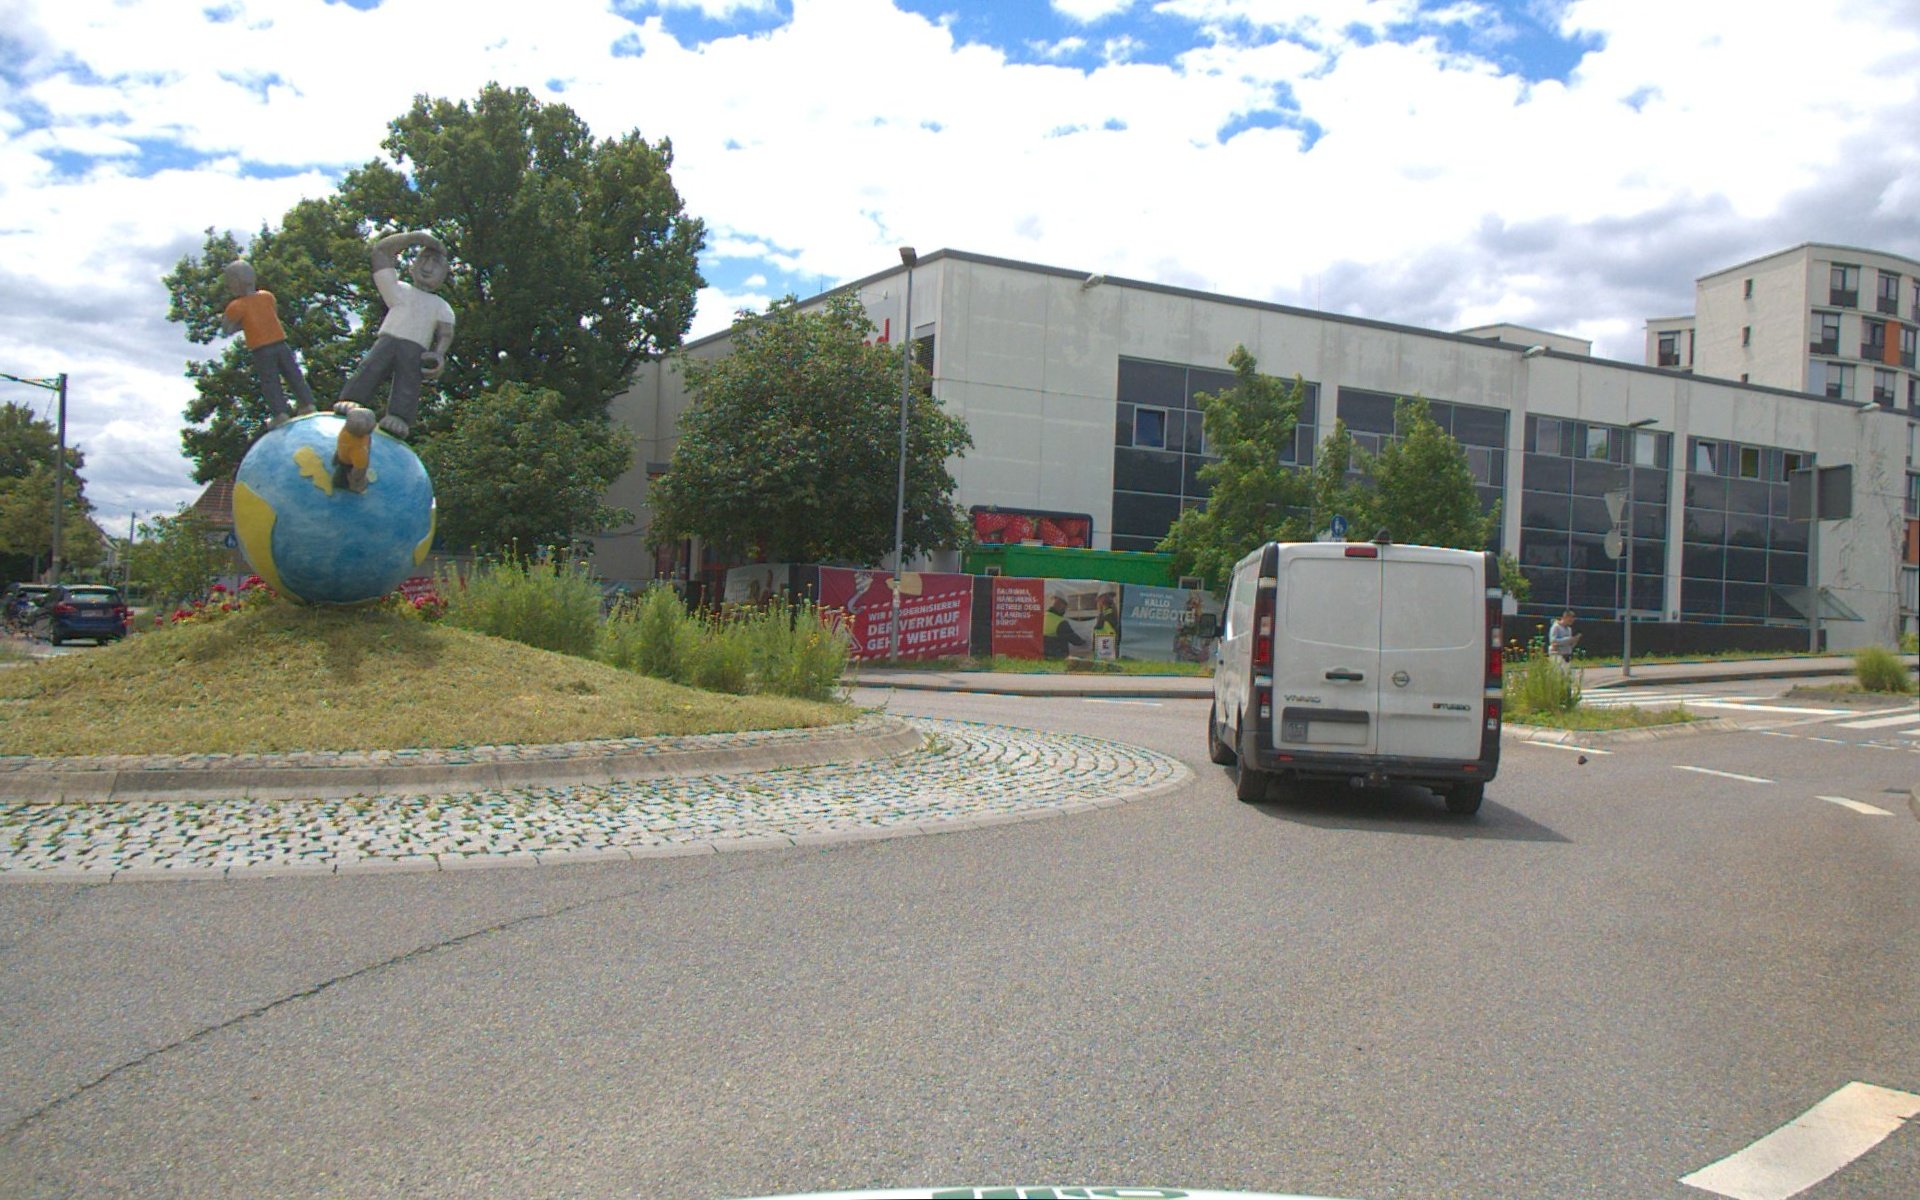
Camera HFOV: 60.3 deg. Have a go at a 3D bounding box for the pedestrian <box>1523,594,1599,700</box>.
[{"bbox_3d":[9.469,0.740,26.086,1.012,1.568,0.895,3,-1,18],"label":"pedestrian"}]

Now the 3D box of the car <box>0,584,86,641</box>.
[{"bbox_3d":[-27.836,0.362,49.859,1.906,1.526,3.871,3,0,-39],"label":"car"}]

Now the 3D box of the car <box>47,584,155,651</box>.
[{"bbox_3d":[-22.598,0.436,43.637,1.903,1.564,3.903,3,0,-19],"label":"car"}]

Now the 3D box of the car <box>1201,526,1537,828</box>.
[{"bbox_3d":[3.230,0.585,14.112,1.992,1.979,4.996,4,-1,6],"label":"car"}]
